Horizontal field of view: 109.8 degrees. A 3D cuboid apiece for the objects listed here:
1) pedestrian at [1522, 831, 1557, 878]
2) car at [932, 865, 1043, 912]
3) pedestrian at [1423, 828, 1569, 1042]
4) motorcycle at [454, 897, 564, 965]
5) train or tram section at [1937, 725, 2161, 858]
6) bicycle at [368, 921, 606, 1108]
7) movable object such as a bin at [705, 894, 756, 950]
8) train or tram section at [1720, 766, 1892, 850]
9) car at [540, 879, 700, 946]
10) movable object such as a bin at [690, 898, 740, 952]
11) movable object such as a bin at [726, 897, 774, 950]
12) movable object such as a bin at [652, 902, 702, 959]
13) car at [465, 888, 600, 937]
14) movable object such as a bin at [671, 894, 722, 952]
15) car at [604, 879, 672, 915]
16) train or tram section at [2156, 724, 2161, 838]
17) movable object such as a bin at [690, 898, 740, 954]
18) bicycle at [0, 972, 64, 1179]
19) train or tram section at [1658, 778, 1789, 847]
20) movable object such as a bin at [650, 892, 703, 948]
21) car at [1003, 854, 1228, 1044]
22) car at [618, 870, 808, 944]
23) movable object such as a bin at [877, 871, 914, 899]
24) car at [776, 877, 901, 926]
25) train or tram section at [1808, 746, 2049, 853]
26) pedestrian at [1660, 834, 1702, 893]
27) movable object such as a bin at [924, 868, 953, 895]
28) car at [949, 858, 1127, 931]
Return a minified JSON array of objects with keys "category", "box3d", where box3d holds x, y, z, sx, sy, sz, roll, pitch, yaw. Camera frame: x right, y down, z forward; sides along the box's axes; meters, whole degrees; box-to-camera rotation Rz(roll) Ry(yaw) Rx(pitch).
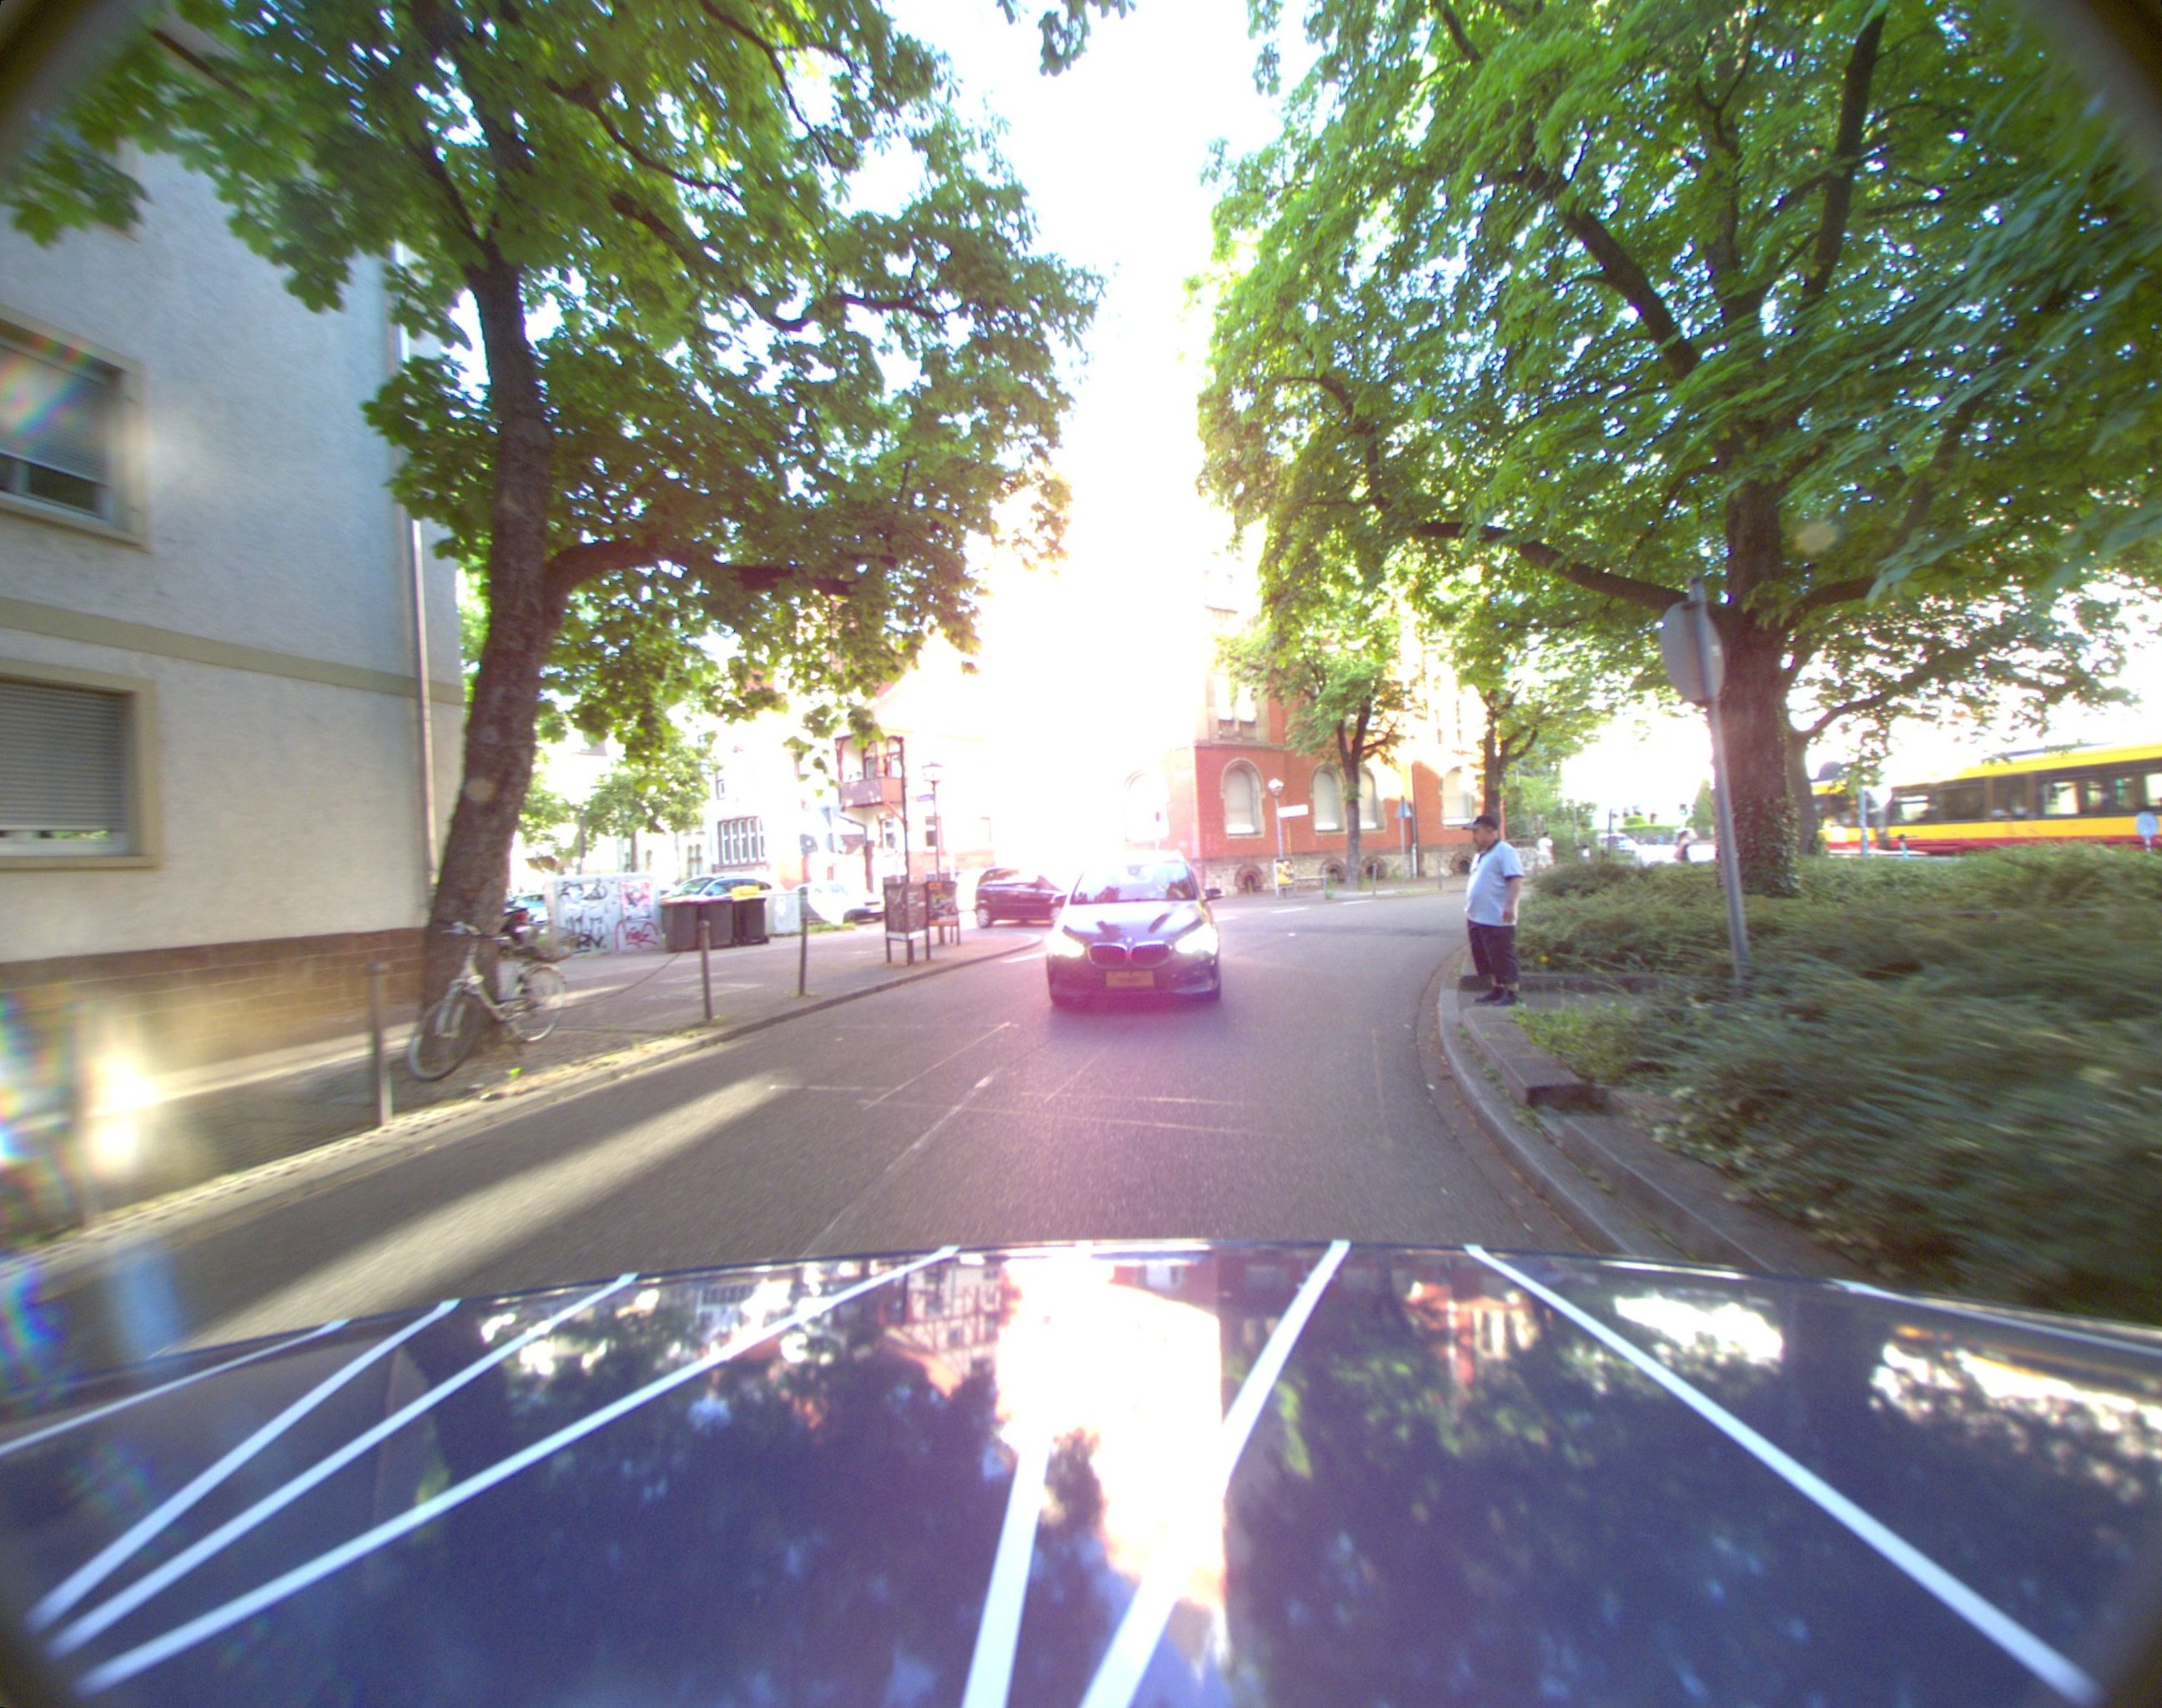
[{"category":"pedestrian","box3d":[16.774,0.020,27.797,0.859,1.633,0.871,-3,0,18]},{"category":"car","box3d":[-3.449,1.276,27.699,3.787,1.477,1.713,-3,2,37]},{"category":"pedestrian","box3d":[3.593,0.640,6.567,0.920,1.674,0.778,-3,0,-43]},{"category":"motorcycle","box3d":[-11.901,1.588,15.797,2.177,1.272,0.980,-3,0,29]},{"category":"train or tram section","box3d":[31.454,-1.804,23.562,2.929,3.578,7.197,-4,0,16]},{"category":"bicycle","box3d":[-4.870,1.245,6.407,0.555,1.175,1.790,-3,0,-1]},{"category":"movable object such as a bin","box3d":[-7.776,1.502,16.870,0.699,1.146,0.741,-3,0,38]},{"category":"train or tram section","box3d":[35.283,-2.120,37.421,2.968,3.487,7.196,-4,0,16]},{"category":"car","box3d":[-13.842,1.692,22.952,1.699,1.641,3.712,-3,0,41]},{"category":"movable object such as a bin","box3d":[-8.365,1.603,17.366,0.714,1.146,0.741,-3,0,38]},{"category":"movable object such as a bin","box3d":[-7.169,1.495,16.465,0.692,1.058,0.660,-3,0,38]},{"category":"movable object such as a bin","box3d":[-8.178,1.527,15.381,0.672,1.077,0.594,-3,0,36]},{"category":"car","box3d":[-19.875,2.107,27.630,1.673,1.496,3.608,-4,-2,38]},{"category":"movable object such as a bin","box3d":[-8.209,1.472,16.230,0.700,1.146,0.635,-4,1,38]},{"category":"car","box3d":[-26.169,2.568,44.845,4.313,1.896,1.807,-3,2,37]},{"category":"train or tram section","box3d":[29.434,-1.739,16.310,2.917,3.593,7.868,-3,0,16]},{"category":"movable object such as a bin","box3d":[-7.613,1.484,15.795,0.703,1.069,0.632,-3,0,38]},{"category":"bicycle","box3d":[-6.601,1.333,3.854,0.438,1.174,1.785,-3,0,-1]},{"category":"train or tram section","box3d":[37.174,-2.307,44.359,2.968,3.487,7.196,-4,0,16]},{"category":"movable object such as a bin","box3d":[-8.862,1.438,16.654,0.699,1.146,0.741,-3,0,38]},{"category":"car","box3d":[0.648,0.868,8.994,1.923,1.597,4.520,-3,0,9]},{"category":"car","box3d":[-9.844,1.376,20.613,2.019,1.702,4.128,-4,-2,33]},{"category":"movable object such as a bin","box3d":[-9.149,1.527,37.423,1.383,1.291,0.966,-4,1,-43]},{"category":"car","box3d":[-8.079,1.576,25.169,4.244,1.387,1.798,-3,0,38]},{"category":"train or tram section","box3d":[33.376,-1.986,30.470,2.934,3.570,7.196,-4,0,16]},{"category":"pedestrian","box3d":[16.933,0.271,21.455,0.852,1.595,0.603,-3,0,37]},{"category":"movable object such as a bin","box3d":[-7.396,1.423,39.550,0.685,1.310,1.386,-3,1,30]},{"category":"car","box3d":[-1.184,1.052,19.705,4.251,1.584,2.003,-4,1,39]}]
